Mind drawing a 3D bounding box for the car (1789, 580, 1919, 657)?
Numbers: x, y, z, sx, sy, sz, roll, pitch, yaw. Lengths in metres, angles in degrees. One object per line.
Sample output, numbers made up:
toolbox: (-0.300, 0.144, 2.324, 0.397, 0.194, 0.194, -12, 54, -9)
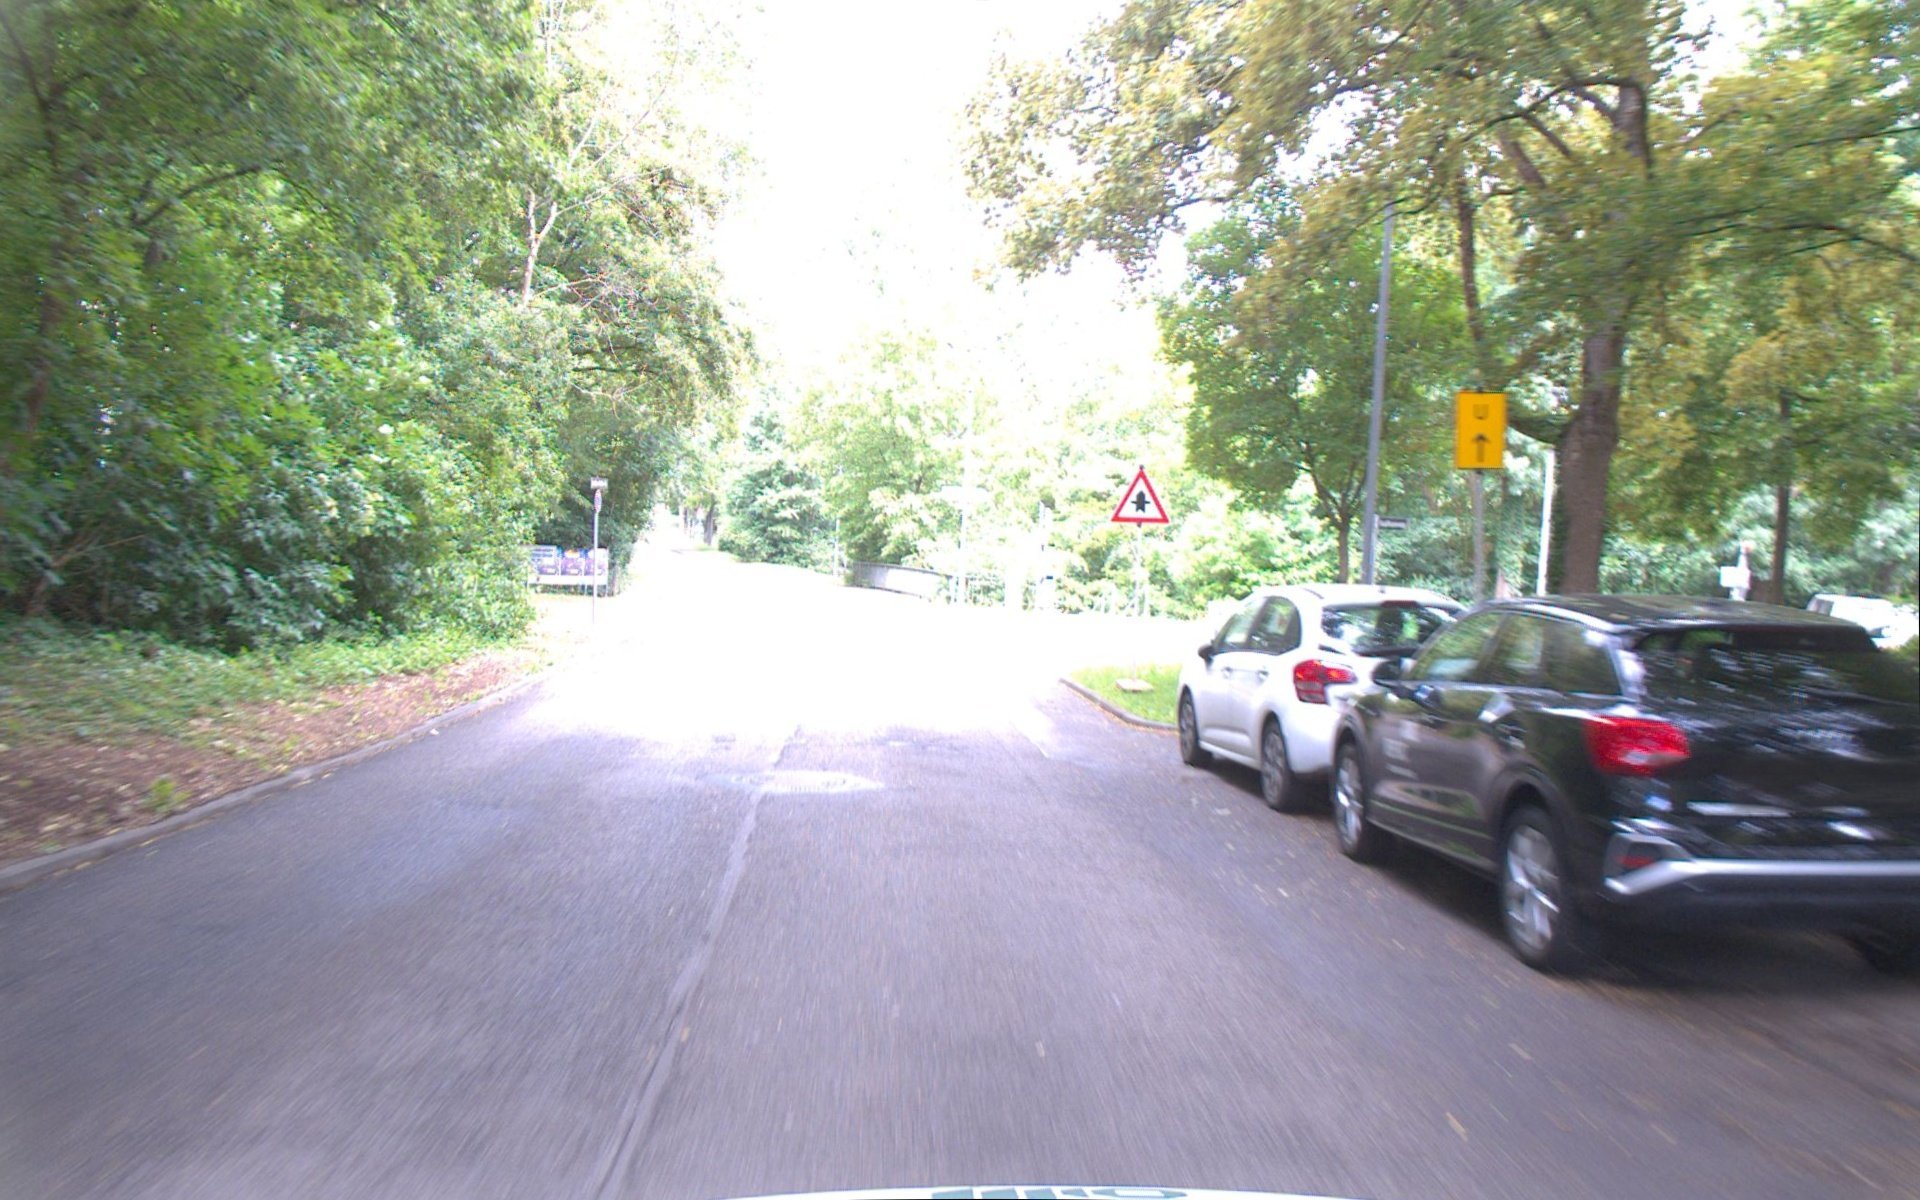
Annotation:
car: (26.505, 0.552, 47.680, 4.119, 2.048, 2.000, 2, 1, 1)

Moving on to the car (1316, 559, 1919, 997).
car: (3.150, 0.622, 8.094, 1.738, 1.549, 4.182, 2, 1, -2)

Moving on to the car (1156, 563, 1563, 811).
car: (2.818, 0.532, 12.569, 1.740, 1.549, 3.775, 2, 1, -7)

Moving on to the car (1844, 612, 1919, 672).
car: (26.446, 1.183, 44.677, 4.119, 1.525, 1.800, 2, 1, 1)
